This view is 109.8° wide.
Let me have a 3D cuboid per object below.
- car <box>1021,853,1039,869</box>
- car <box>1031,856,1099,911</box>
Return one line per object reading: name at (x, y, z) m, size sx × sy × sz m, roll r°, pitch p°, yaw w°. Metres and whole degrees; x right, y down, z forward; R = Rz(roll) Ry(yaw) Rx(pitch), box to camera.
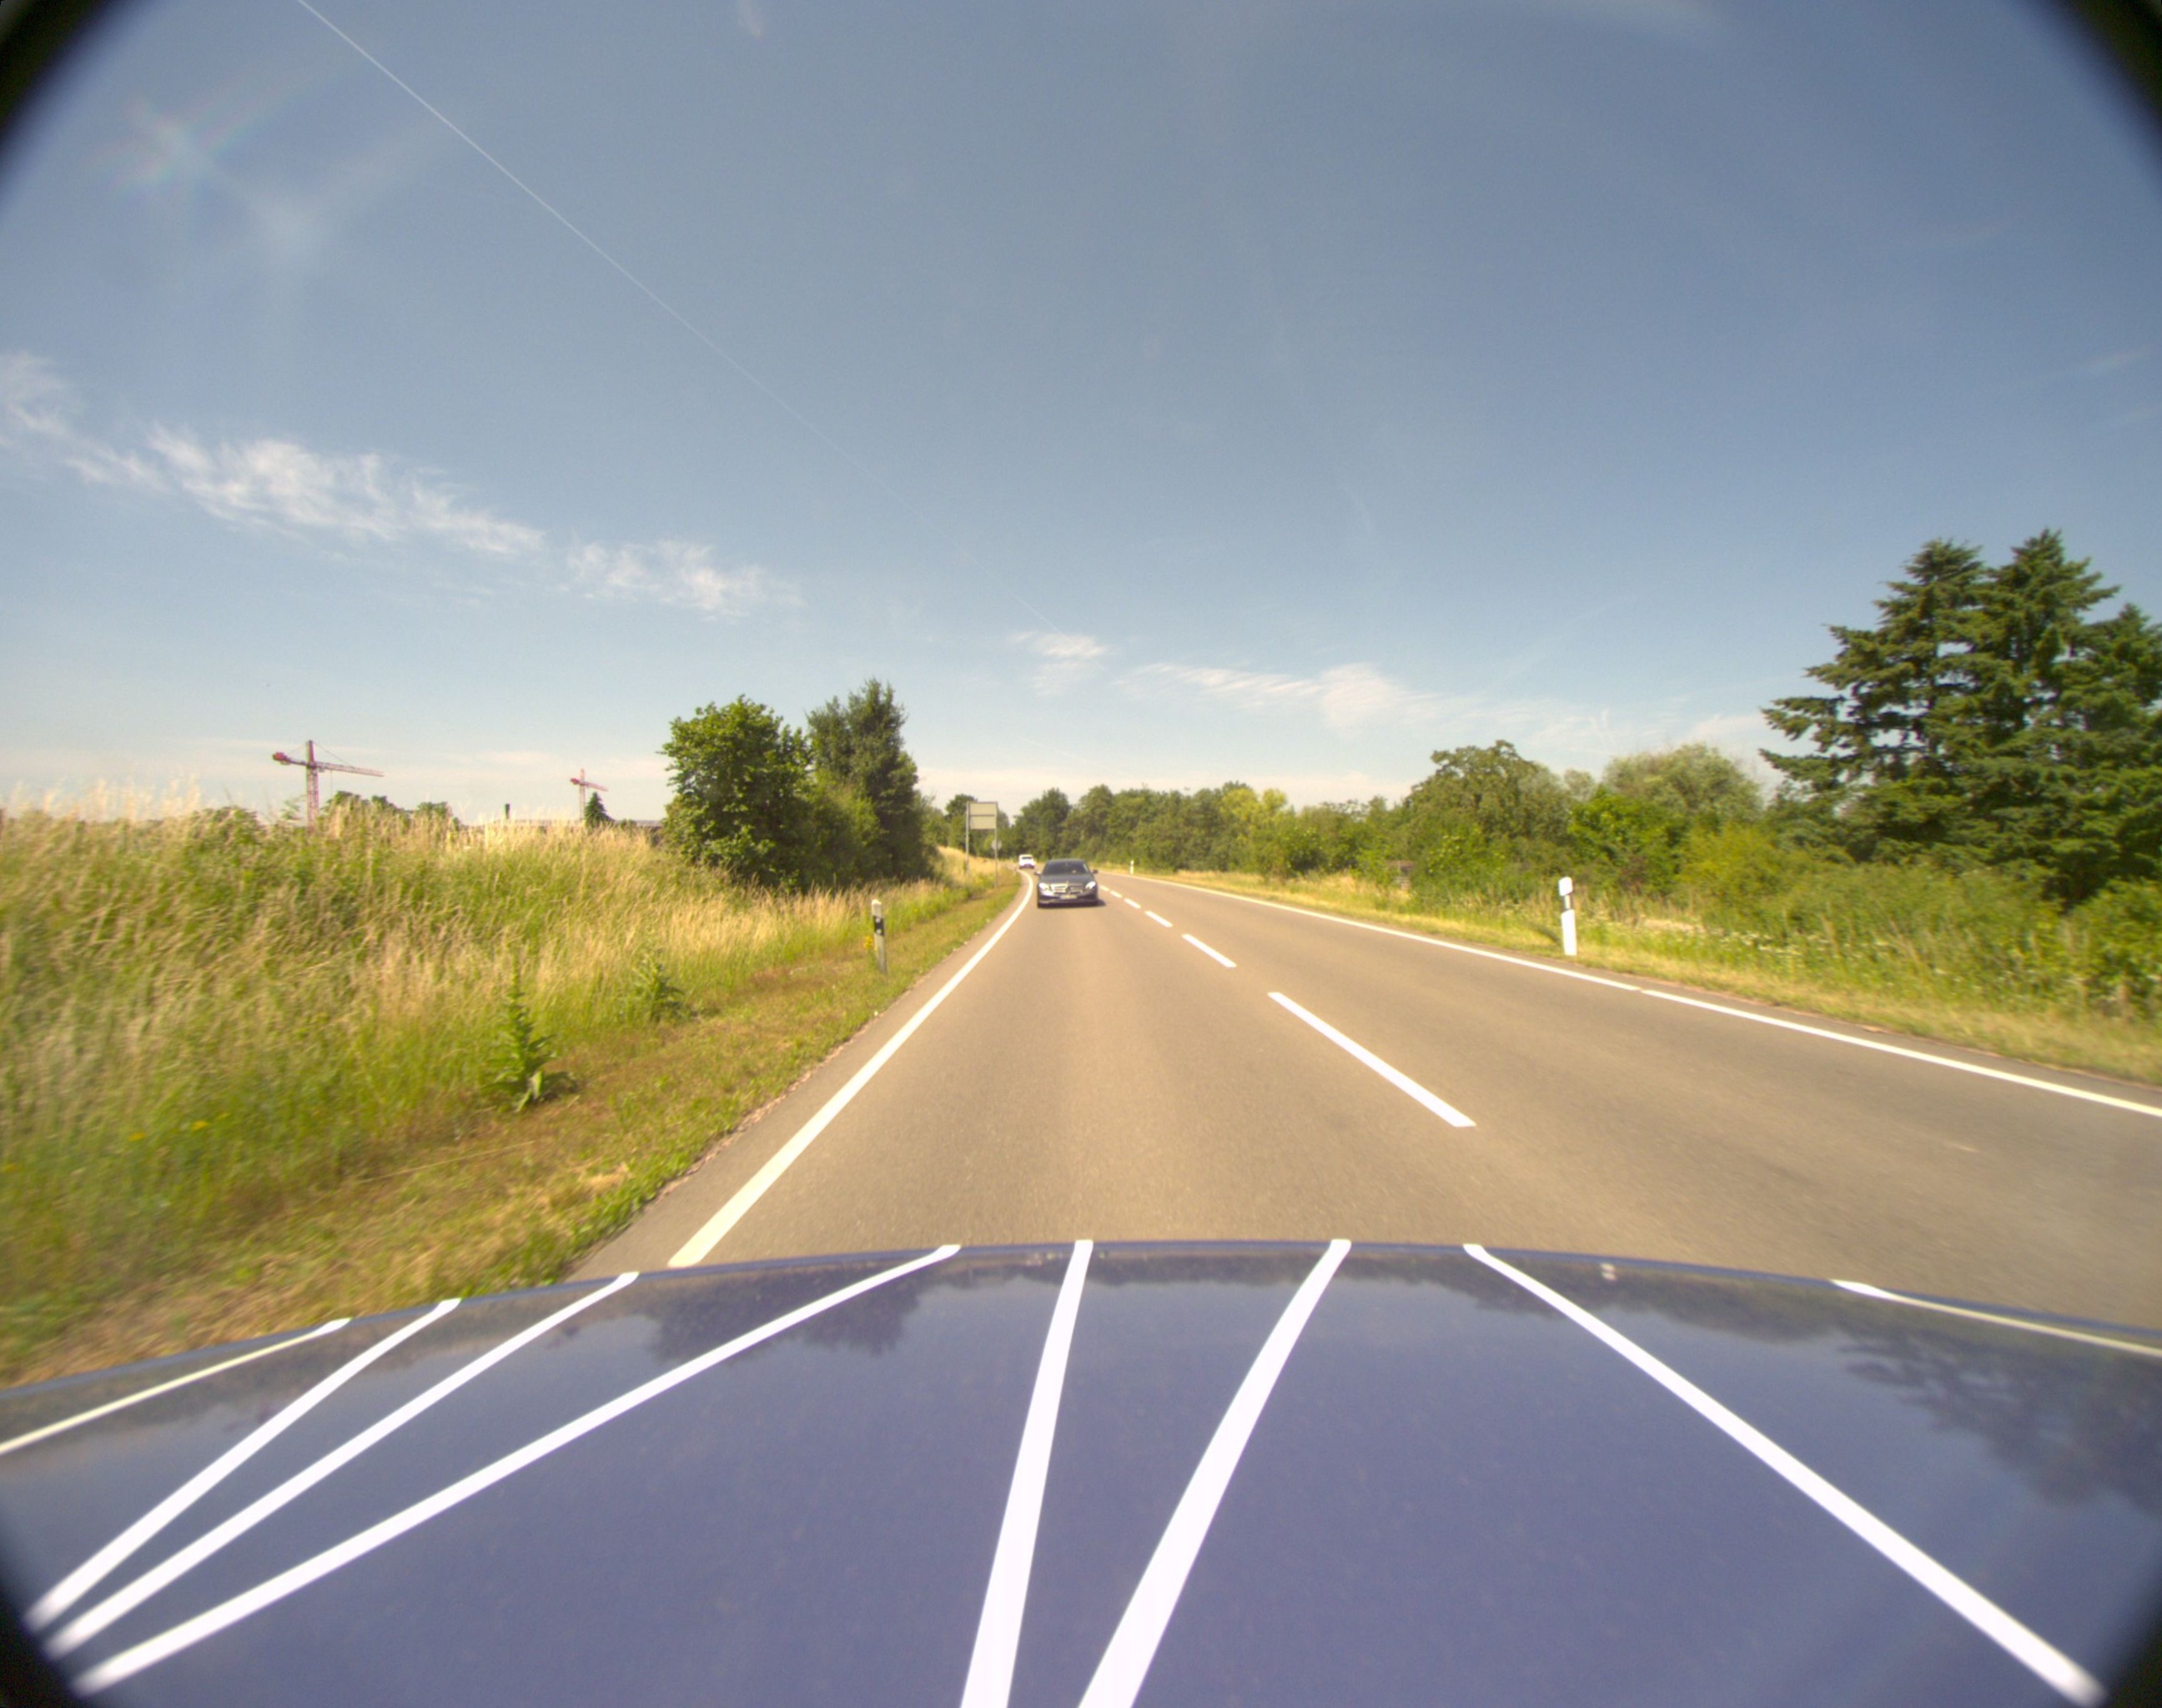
car at (-6.928, 0.936, 102.810) m, size 2.180 × 2.002 × 5.022 m, roll -3°, pitch 0°, yaw -6°
car at (-0.420, 0.864, 24.600) m, size 1.831 × 1.540 × 4.499 m, roll -1°, pitch 0°, yaw 3°
